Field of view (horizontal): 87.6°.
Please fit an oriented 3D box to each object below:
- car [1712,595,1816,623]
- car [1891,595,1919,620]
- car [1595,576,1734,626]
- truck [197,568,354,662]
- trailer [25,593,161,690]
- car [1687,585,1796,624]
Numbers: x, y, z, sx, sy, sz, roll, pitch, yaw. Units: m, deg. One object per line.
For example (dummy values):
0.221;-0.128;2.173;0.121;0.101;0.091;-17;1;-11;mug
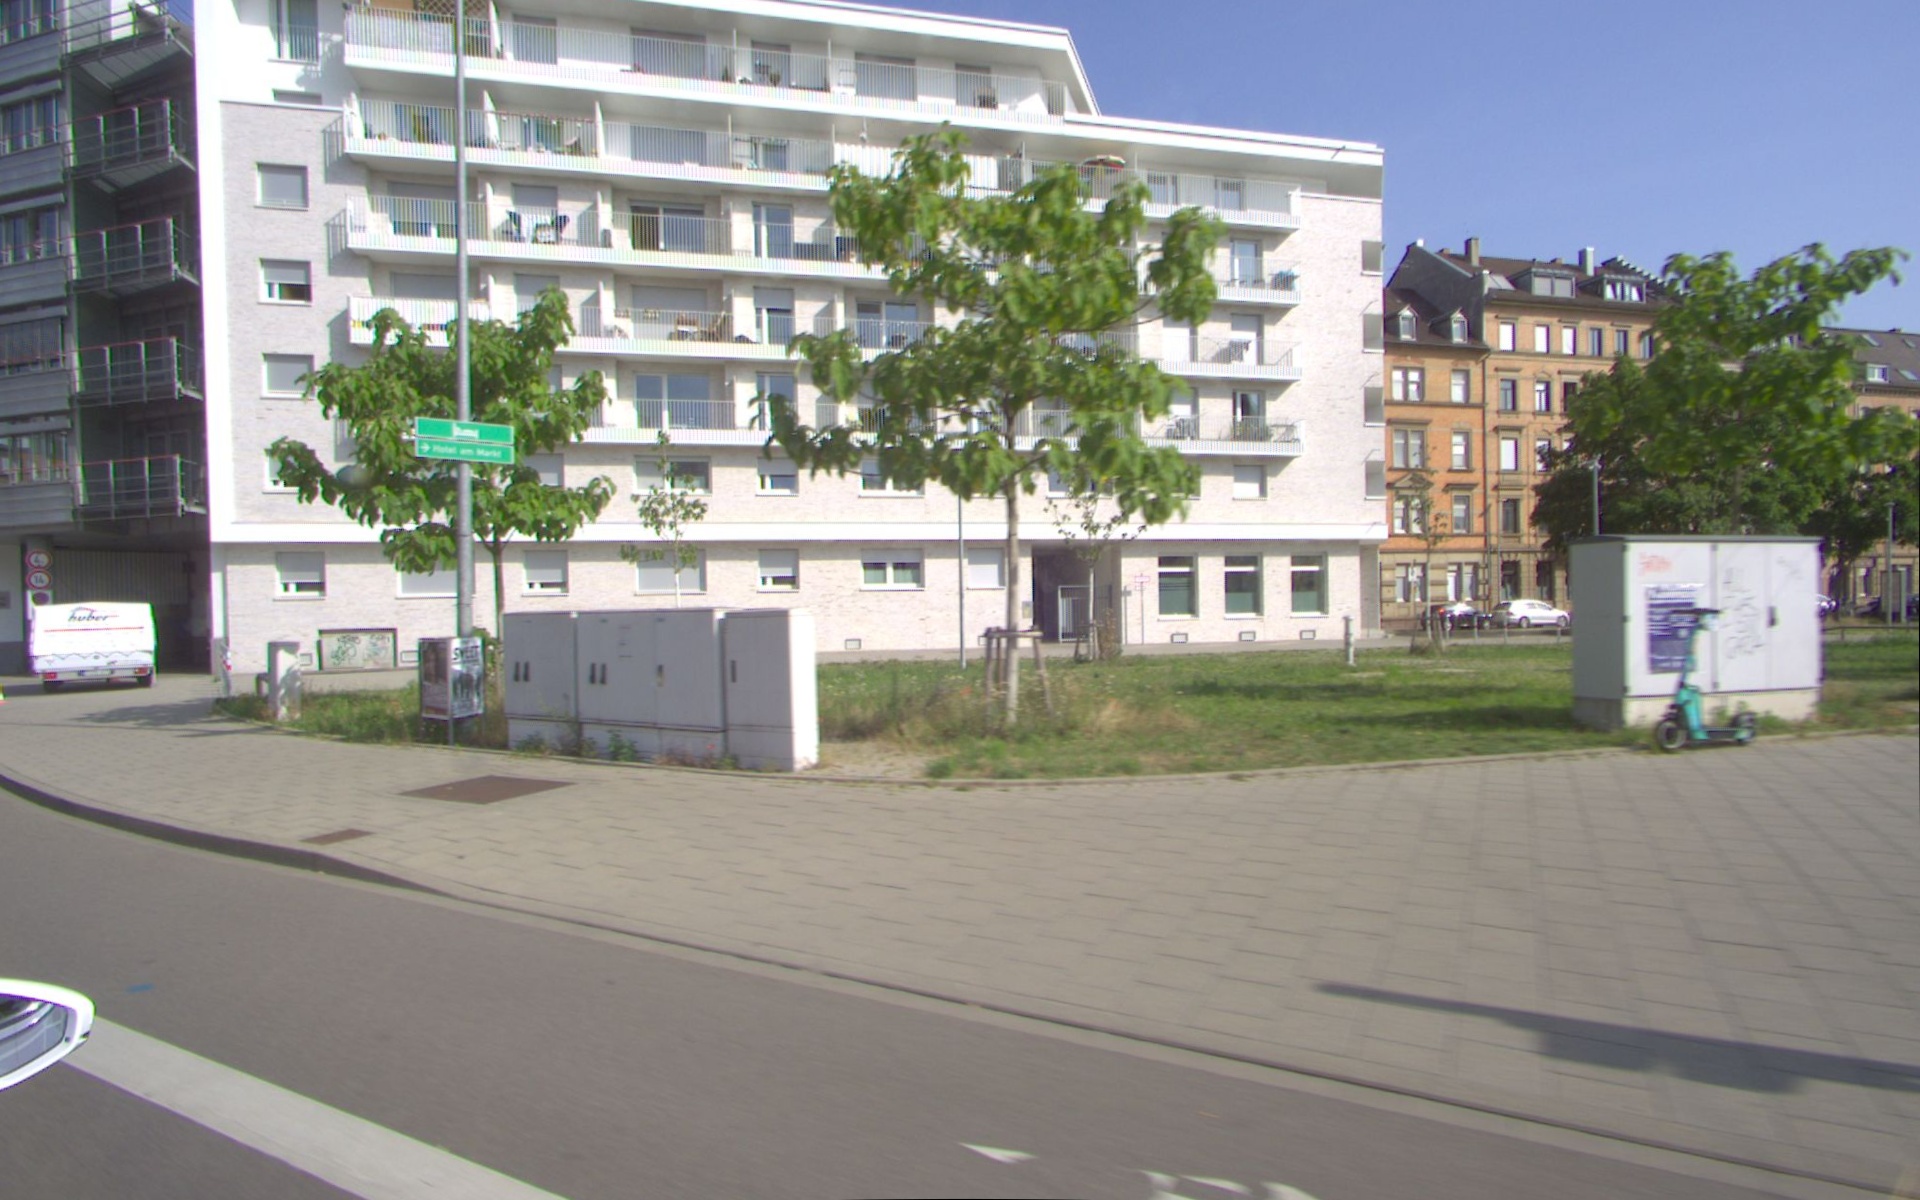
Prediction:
38.459;0.444;47.965;3.813;1.265;1.707;-2;-1;42;car
50.326;0.345;51.265;3.813;1.265;1.707;-2;-1;42;car
32.836;0.082;46.798;1.860;2.207;5.003;-1;-1;-41;car
-25.625;0.418;37.862;1.961;3.141;6.145;-2;3;-5;truck
-22.091;0.983;25.747;2.369;2.179;5.902;-1;0;-39;trailer
36.534;0.212;46.846;3.940;1.729;1.864;-1;-1;42;car
